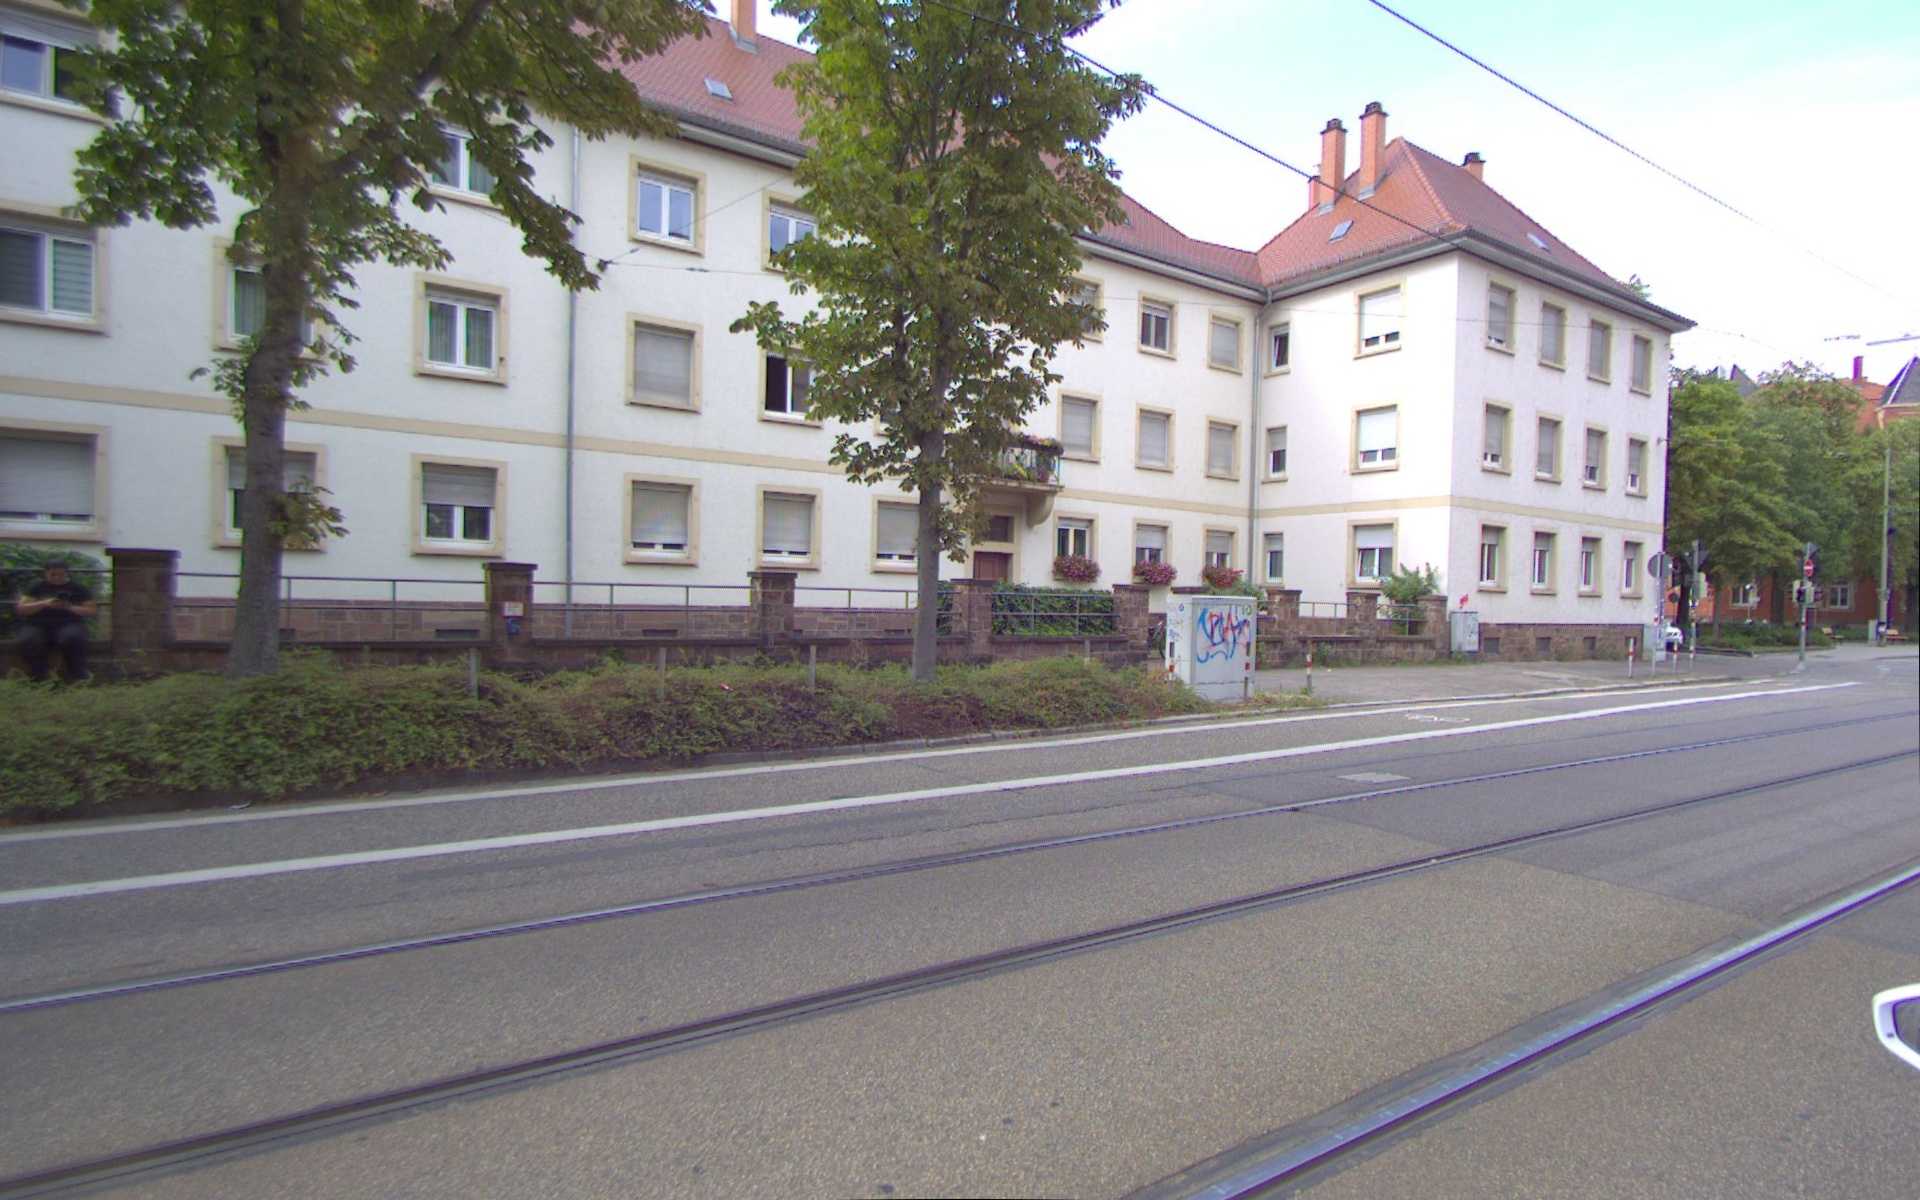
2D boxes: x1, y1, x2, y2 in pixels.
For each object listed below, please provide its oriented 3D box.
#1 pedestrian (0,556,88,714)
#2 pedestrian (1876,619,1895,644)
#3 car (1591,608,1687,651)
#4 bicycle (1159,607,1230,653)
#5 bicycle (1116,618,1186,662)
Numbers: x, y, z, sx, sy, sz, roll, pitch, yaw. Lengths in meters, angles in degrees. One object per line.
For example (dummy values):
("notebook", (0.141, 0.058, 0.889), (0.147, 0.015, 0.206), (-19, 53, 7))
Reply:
("pedestrian", (-9.149, 0.329, 9.937), (0.726, 1.484, 0.826), (1, 0, -39))
("pedestrian", (64.649, 2.204, 70.169), (0.726, 1.726, 0.826), (1, 1, -39))
("car", (30.379, 1.349, 45.108), (1.804, 1.743, 4.162), (3, -2, 6))
("bicycle", (5.004, 0.635, 21.381), (1.654, 0.927, 0.475), (1, 0, -34))
("bicycle", (4.189, 0.871, 21.999), (1.654, 0.927, 0.475), (1, 0, -34))
